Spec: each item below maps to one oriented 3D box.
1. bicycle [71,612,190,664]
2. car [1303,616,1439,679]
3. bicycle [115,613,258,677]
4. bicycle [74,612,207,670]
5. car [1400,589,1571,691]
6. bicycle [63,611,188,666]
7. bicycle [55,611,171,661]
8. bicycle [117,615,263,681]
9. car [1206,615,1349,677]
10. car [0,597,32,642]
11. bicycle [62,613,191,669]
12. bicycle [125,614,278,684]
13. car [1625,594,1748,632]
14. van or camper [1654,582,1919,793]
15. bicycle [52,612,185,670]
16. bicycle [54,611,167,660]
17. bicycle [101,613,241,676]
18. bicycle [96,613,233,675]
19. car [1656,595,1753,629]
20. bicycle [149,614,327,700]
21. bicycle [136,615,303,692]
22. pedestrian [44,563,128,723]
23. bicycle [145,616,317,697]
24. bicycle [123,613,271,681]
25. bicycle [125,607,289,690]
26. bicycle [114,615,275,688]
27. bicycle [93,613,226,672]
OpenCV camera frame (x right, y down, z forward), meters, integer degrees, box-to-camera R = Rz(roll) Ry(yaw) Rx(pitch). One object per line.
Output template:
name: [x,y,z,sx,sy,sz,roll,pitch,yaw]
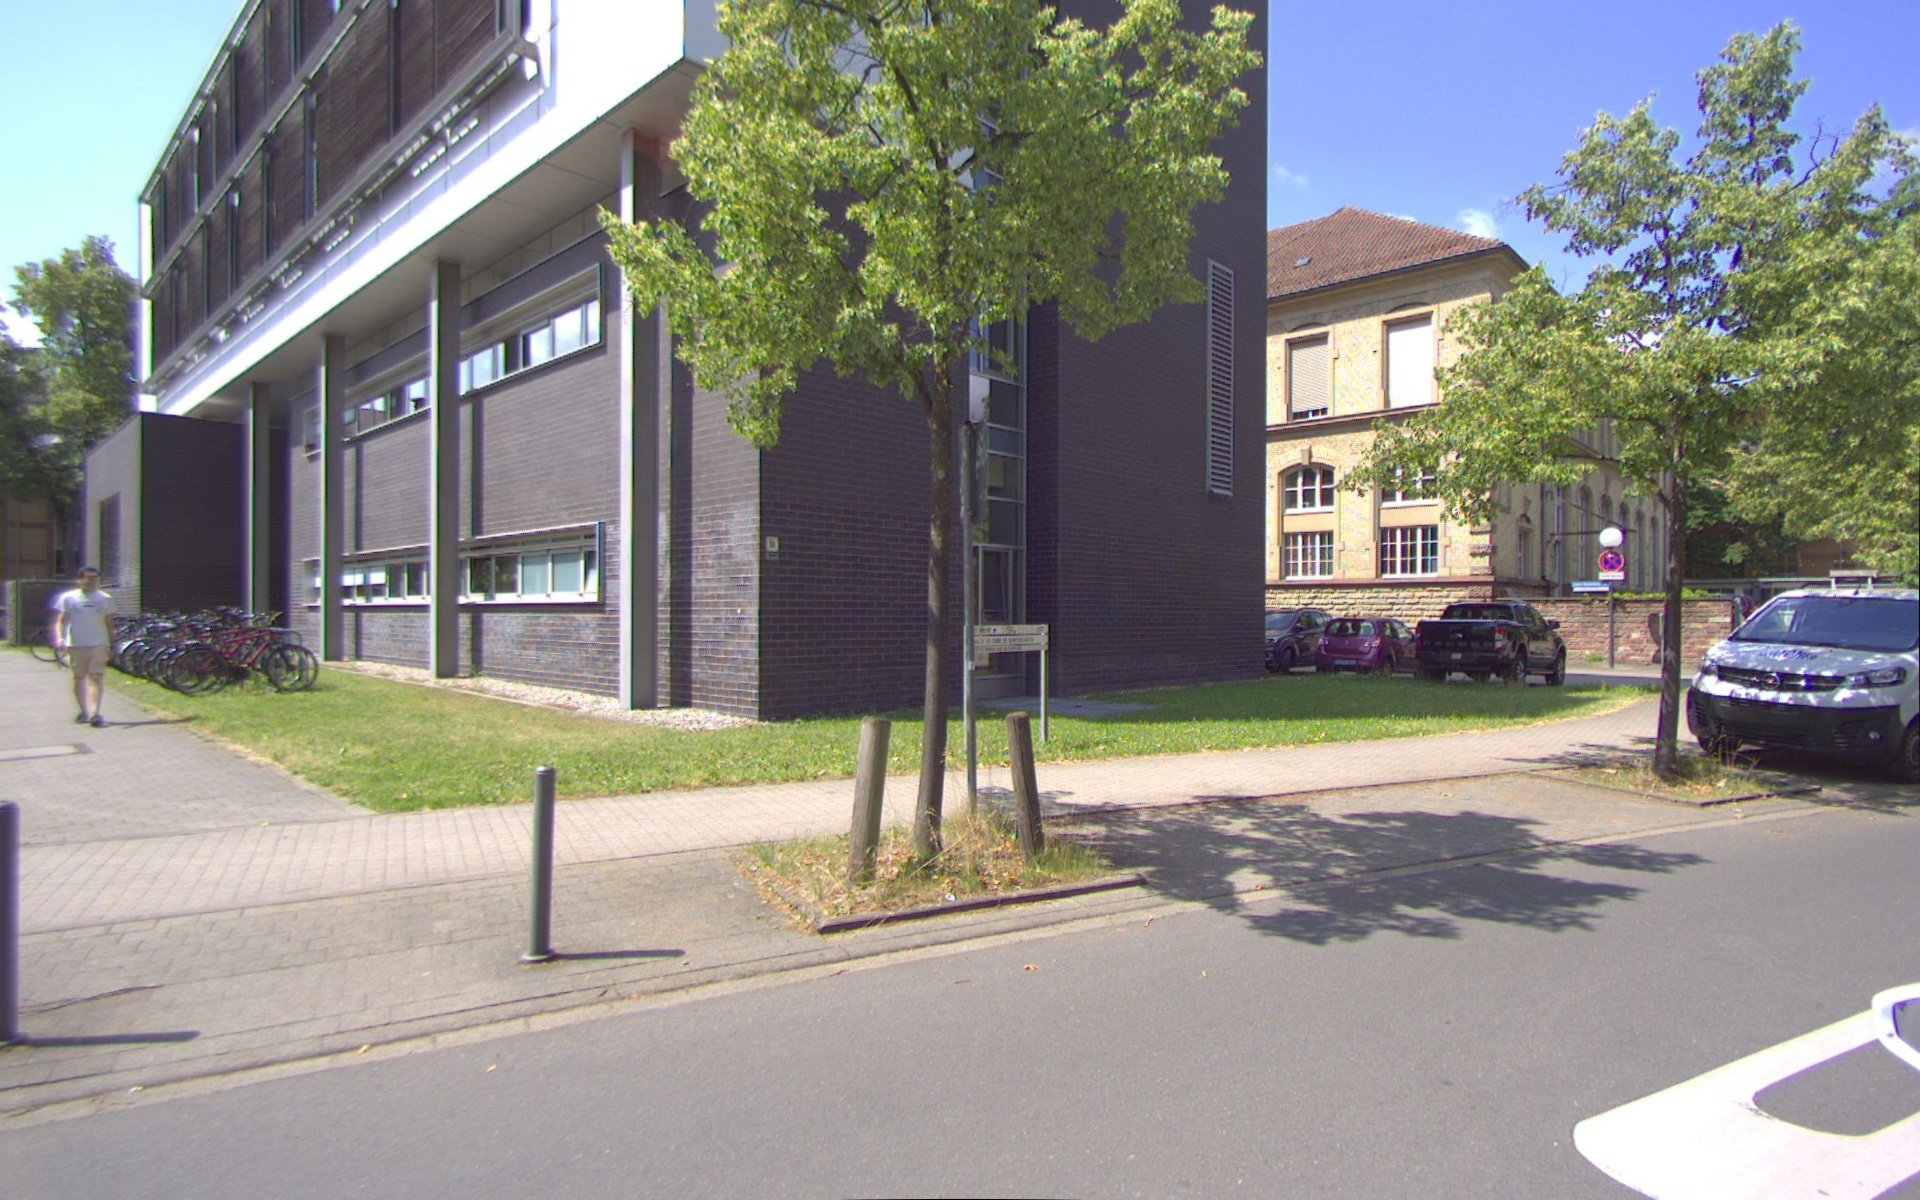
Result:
bicycle: [-18.994,0.849,23.040,0.573,1.138,2.039,0,-1,41]
car: [9.719,1.067,23.628,1.797,1.341,3.747,0,-1,42]
bicycle: [-14.370,0.813,18.703,0.573,1.138,2.039,0,-1,41]
bicycle: [-16.766,0.814,20.597,0.573,1.138,2.039,0,-1,41]
car: [11.501,0.801,21.791,2.150,1.951,5.159,0,-1,41]
bicycle: [-18.152,0.822,21.886,0.573,1.138,2.039,0,-1,41]
bicycle: [-20.100,0.841,23.873,0.573,1.138,2.039,0,-1,41]
bicycle: [-13.940,0.837,18.235,0.573,1.138,2.039,0,-1,41]
car: [7.990,1.097,25.072,1.797,1.341,4.139,3,1,42]
car: [-43.085,0.854,45.228,1.855,1.798,3.949,1,2,-42]
bicycle: [-17.707,0.839,21.385,0.573,1.138,2.039,0,-1,41]
bicycle: [-13.091,0.820,17.395,0.541,1.138,2.039,0,-1,41]
car: [30.946,0.547,42.912,4.026,1.537,1.754,0,-1,27]
van or camper: [10.473,0.835,11.376,5.349,1.949,1.947,1,0,-27]
bicycle: [-17.393,0.831,20.808,0.573,1.138,2.039,0,-1,41]
bicycle: [-20.574,0.851,24.362,0.573,1.138,2.039,0,-1,41]
bicycle: [-15.039,0.819,19.196,0.573,1.138,2.039,0,-1,41]
bicycle: [-15.504,0.834,19.621,0.573,1.138,2.039,0,-1,41]
car: [37.185,0.599,50.216,3.809,1.643,1.748,0,-1,41]
bicycle: [-10.539,0.800,14.735,0.573,1.177,2.039,0,-1,41]
bicycle: [-11.608,0.805,15.811,0.573,1.138,2.039,0,-1,41]
pedestrian: [-9.890,0.471,11.383,0.683,1.743,0.610,1,0,-40]
bicycle: [-11.031,0.820,15.260,0.573,1.138,2.039,0,-1,41]
bicycle: [-13.494,0.804,17.823,0.495,1.138,2.039,0,-1,41]
bicycle: [-12.105,0.754,16.211,0.573,1.259,2.039,0,-1,41]
bicycle: [-12.600,0.821,16.597,0.573,1.138,2.039,0,-1,41]
bicycle: [-16.168,0.833,20.339,0.573,1.138,2.039,0,-1,41]
